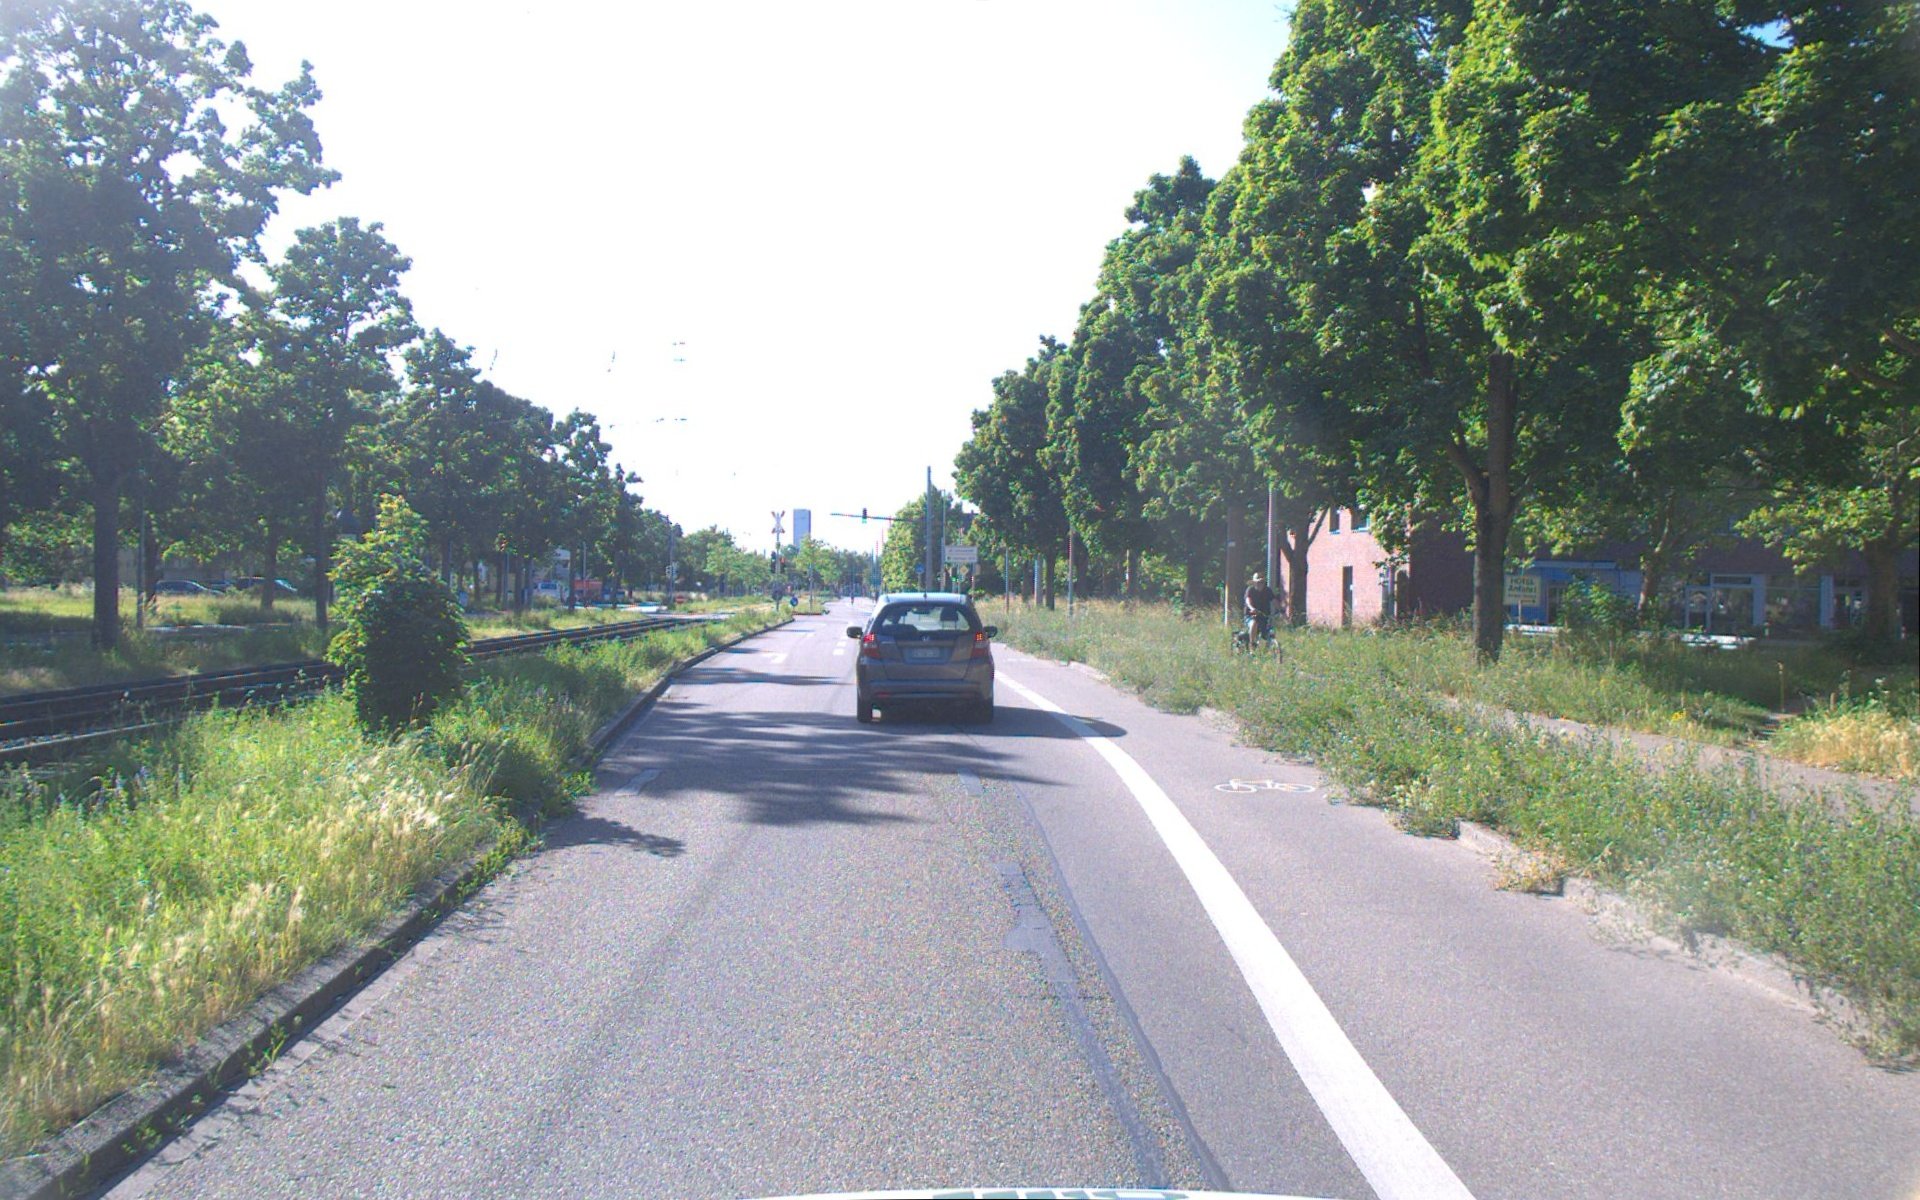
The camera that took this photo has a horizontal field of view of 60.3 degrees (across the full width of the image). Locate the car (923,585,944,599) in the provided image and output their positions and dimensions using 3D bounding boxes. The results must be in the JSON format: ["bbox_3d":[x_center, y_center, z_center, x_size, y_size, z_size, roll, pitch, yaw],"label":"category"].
[{"bbox_3d":[-2.731,-0.825,171.276,1.740,1.411,3.863,0,0,-8],"label":"car"}]

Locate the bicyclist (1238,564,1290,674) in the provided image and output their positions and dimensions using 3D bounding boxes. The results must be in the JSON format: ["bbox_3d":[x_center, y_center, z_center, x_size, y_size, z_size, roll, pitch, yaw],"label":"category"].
[{"bbox_3d":[4.958,0.306,27.009,0.669,1.750,0.902,1,-1,-1],"label":"bicyclist"}]

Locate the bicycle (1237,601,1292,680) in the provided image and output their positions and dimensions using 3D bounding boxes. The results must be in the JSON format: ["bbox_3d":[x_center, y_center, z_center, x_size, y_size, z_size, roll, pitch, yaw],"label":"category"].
[{"bbox_3d":[4.945,0.664,26.979,0.473,1.225,2.143,1,-2,-1],"label":"bicycle"}]

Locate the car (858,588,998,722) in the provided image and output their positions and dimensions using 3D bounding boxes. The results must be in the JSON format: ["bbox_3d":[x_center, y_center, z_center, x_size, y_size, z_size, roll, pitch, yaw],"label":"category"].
[{"bbox_3d":[-0.474,0.623,20.762,1.592,1.526,3.454,0,0,-4],"label":"car"}]

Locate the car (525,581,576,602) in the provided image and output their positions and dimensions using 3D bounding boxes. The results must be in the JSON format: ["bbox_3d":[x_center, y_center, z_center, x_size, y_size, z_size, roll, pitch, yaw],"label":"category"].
[{"bbox_3d":[-39.200,-0.839,158.513,1.823,2.008,4.769,1,1,36],"label":"car"}]
